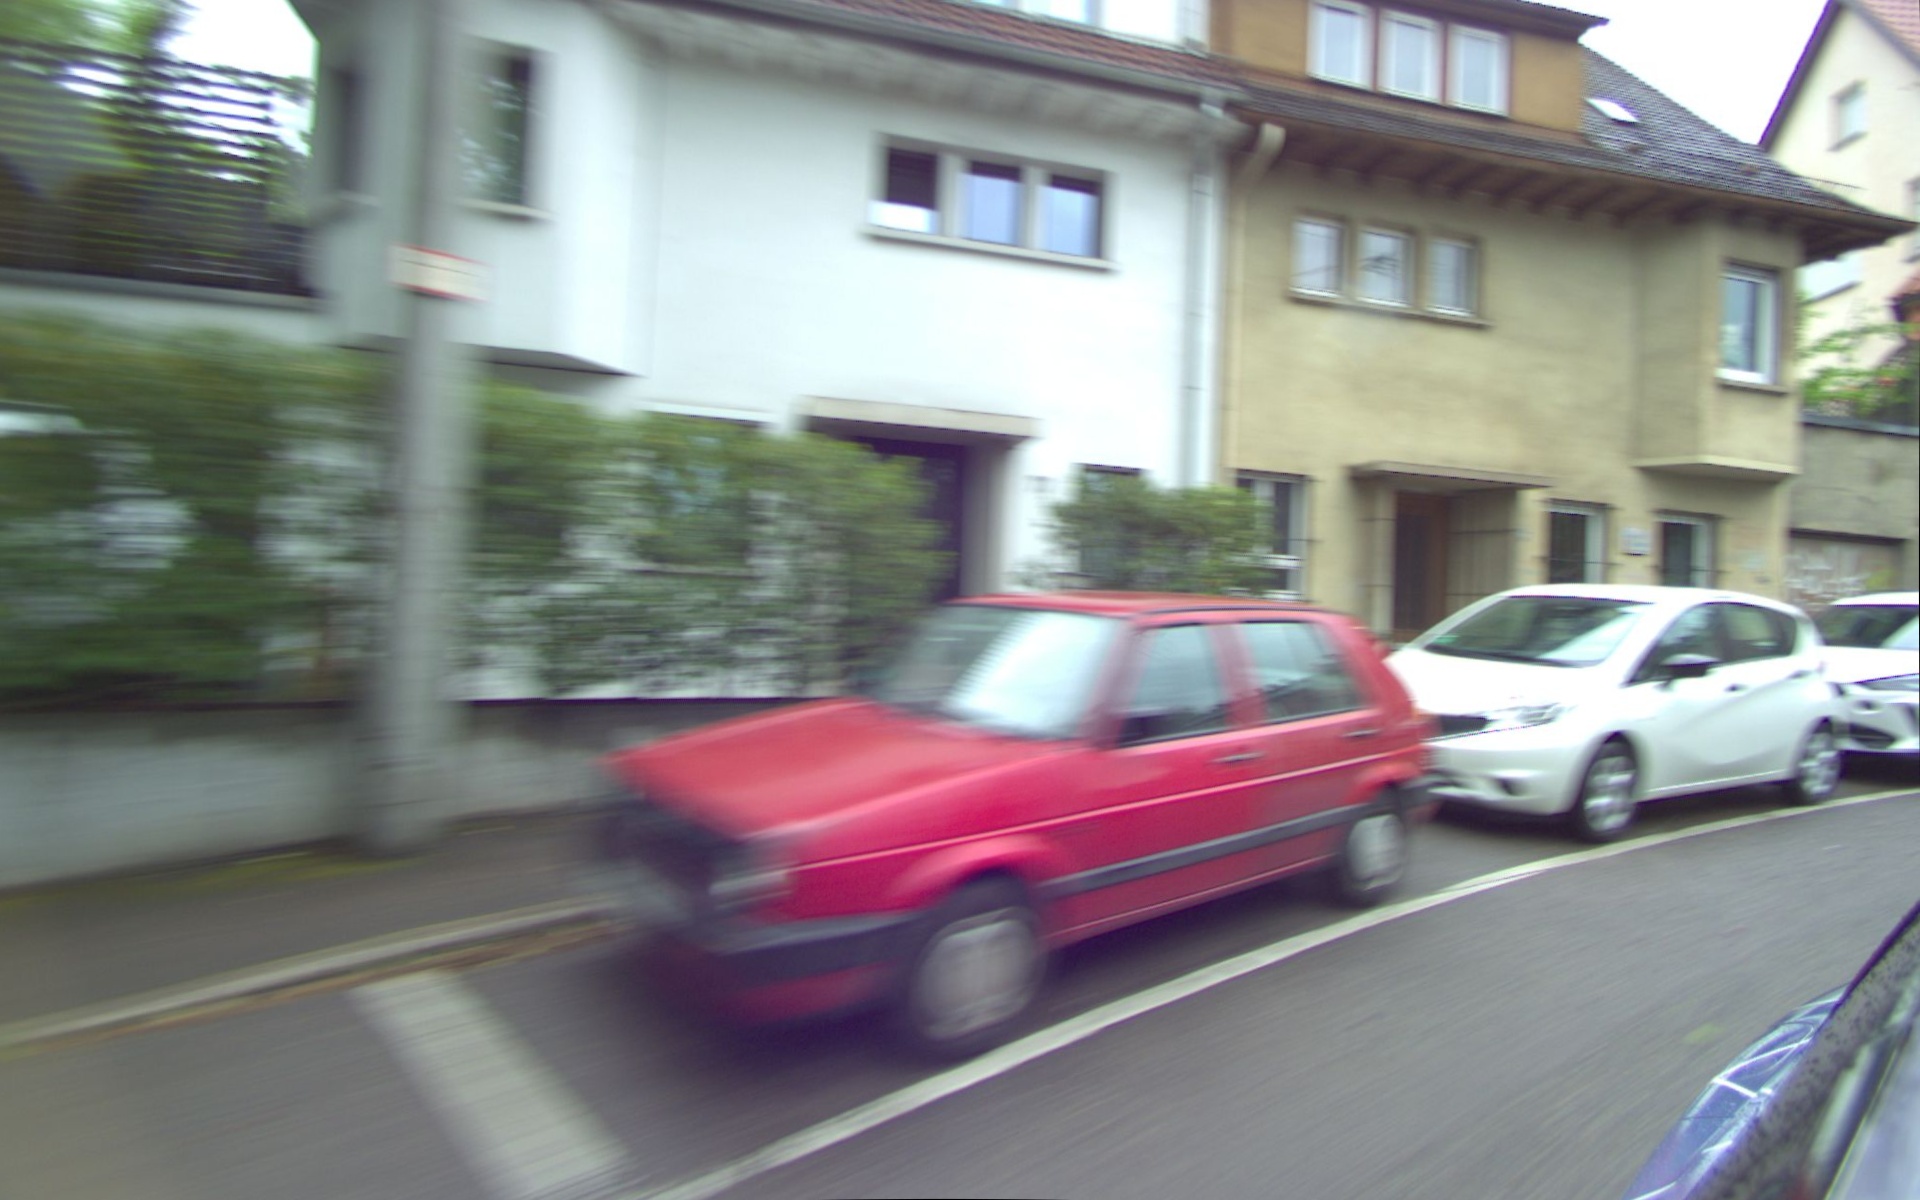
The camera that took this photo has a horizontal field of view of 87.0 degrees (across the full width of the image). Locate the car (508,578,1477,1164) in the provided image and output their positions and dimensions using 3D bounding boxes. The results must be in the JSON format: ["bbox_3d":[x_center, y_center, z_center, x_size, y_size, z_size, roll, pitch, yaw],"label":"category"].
[{"bbox_3d":[0.443,0.609,4.442,4.121,1.384,1.784,-1,2,-40],"label":"car"}]

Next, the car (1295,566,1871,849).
[{"bbox_3d":[4.405,0.563,7.125,3.745,1.534,1.773,0,1,-27],"label":"car"}]

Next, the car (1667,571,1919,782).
[{"bbox_3d":[8.785,0.557,9.092,4.322,1.557,1.924,0,1,-22],"label":"car"}]

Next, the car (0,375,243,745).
[{"bbox_3d":[-5.888,-0.246,5.124,1.958,1.862,4.428,2,10,-11],"label":"car"}]
